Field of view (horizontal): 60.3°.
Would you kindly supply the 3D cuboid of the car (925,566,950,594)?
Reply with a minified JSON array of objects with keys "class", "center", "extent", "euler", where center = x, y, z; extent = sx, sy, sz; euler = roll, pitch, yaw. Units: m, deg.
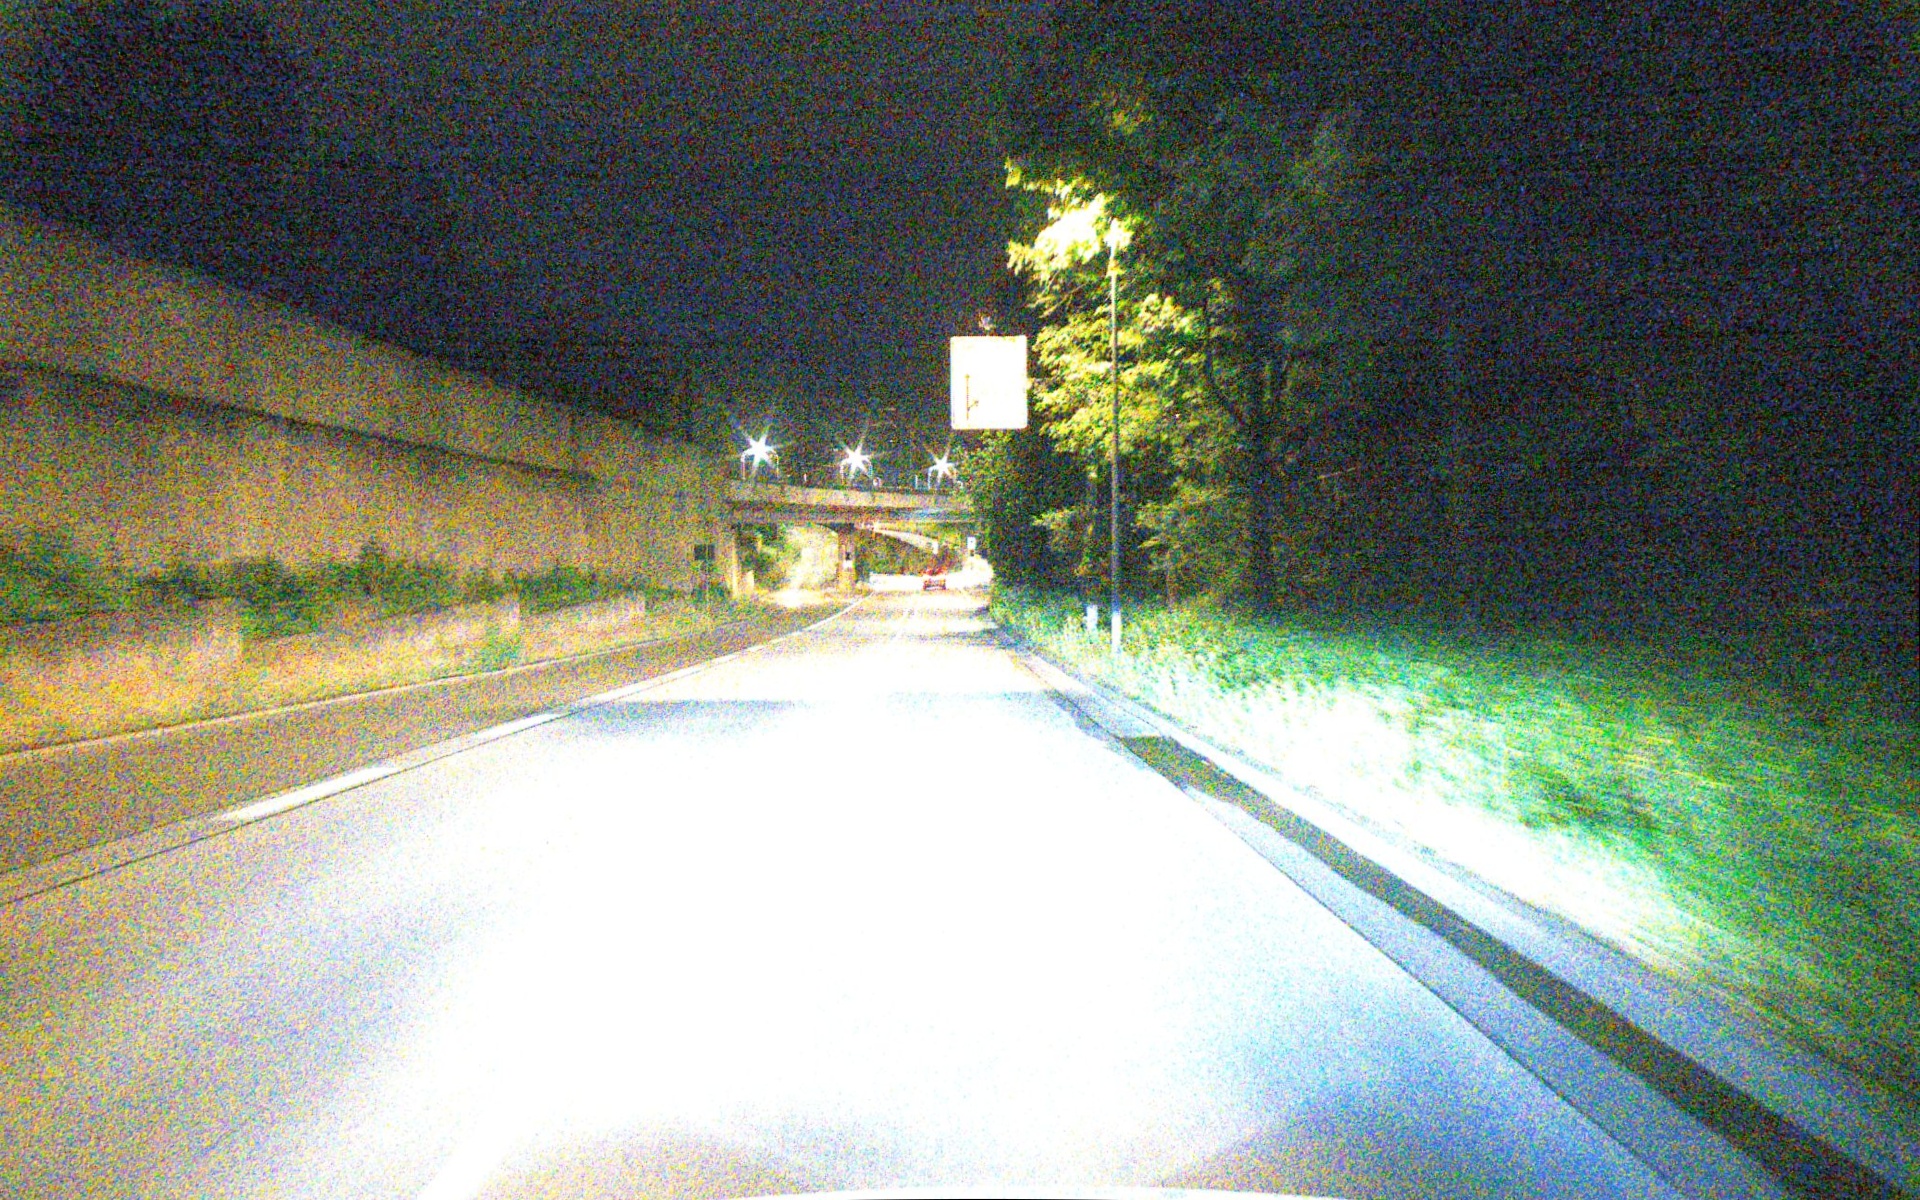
[{"class":"car","center":[-1.753,-1.536,128.038],"extent":[1.880,2.049,4.121],"euler":[1,0,-1]}]
